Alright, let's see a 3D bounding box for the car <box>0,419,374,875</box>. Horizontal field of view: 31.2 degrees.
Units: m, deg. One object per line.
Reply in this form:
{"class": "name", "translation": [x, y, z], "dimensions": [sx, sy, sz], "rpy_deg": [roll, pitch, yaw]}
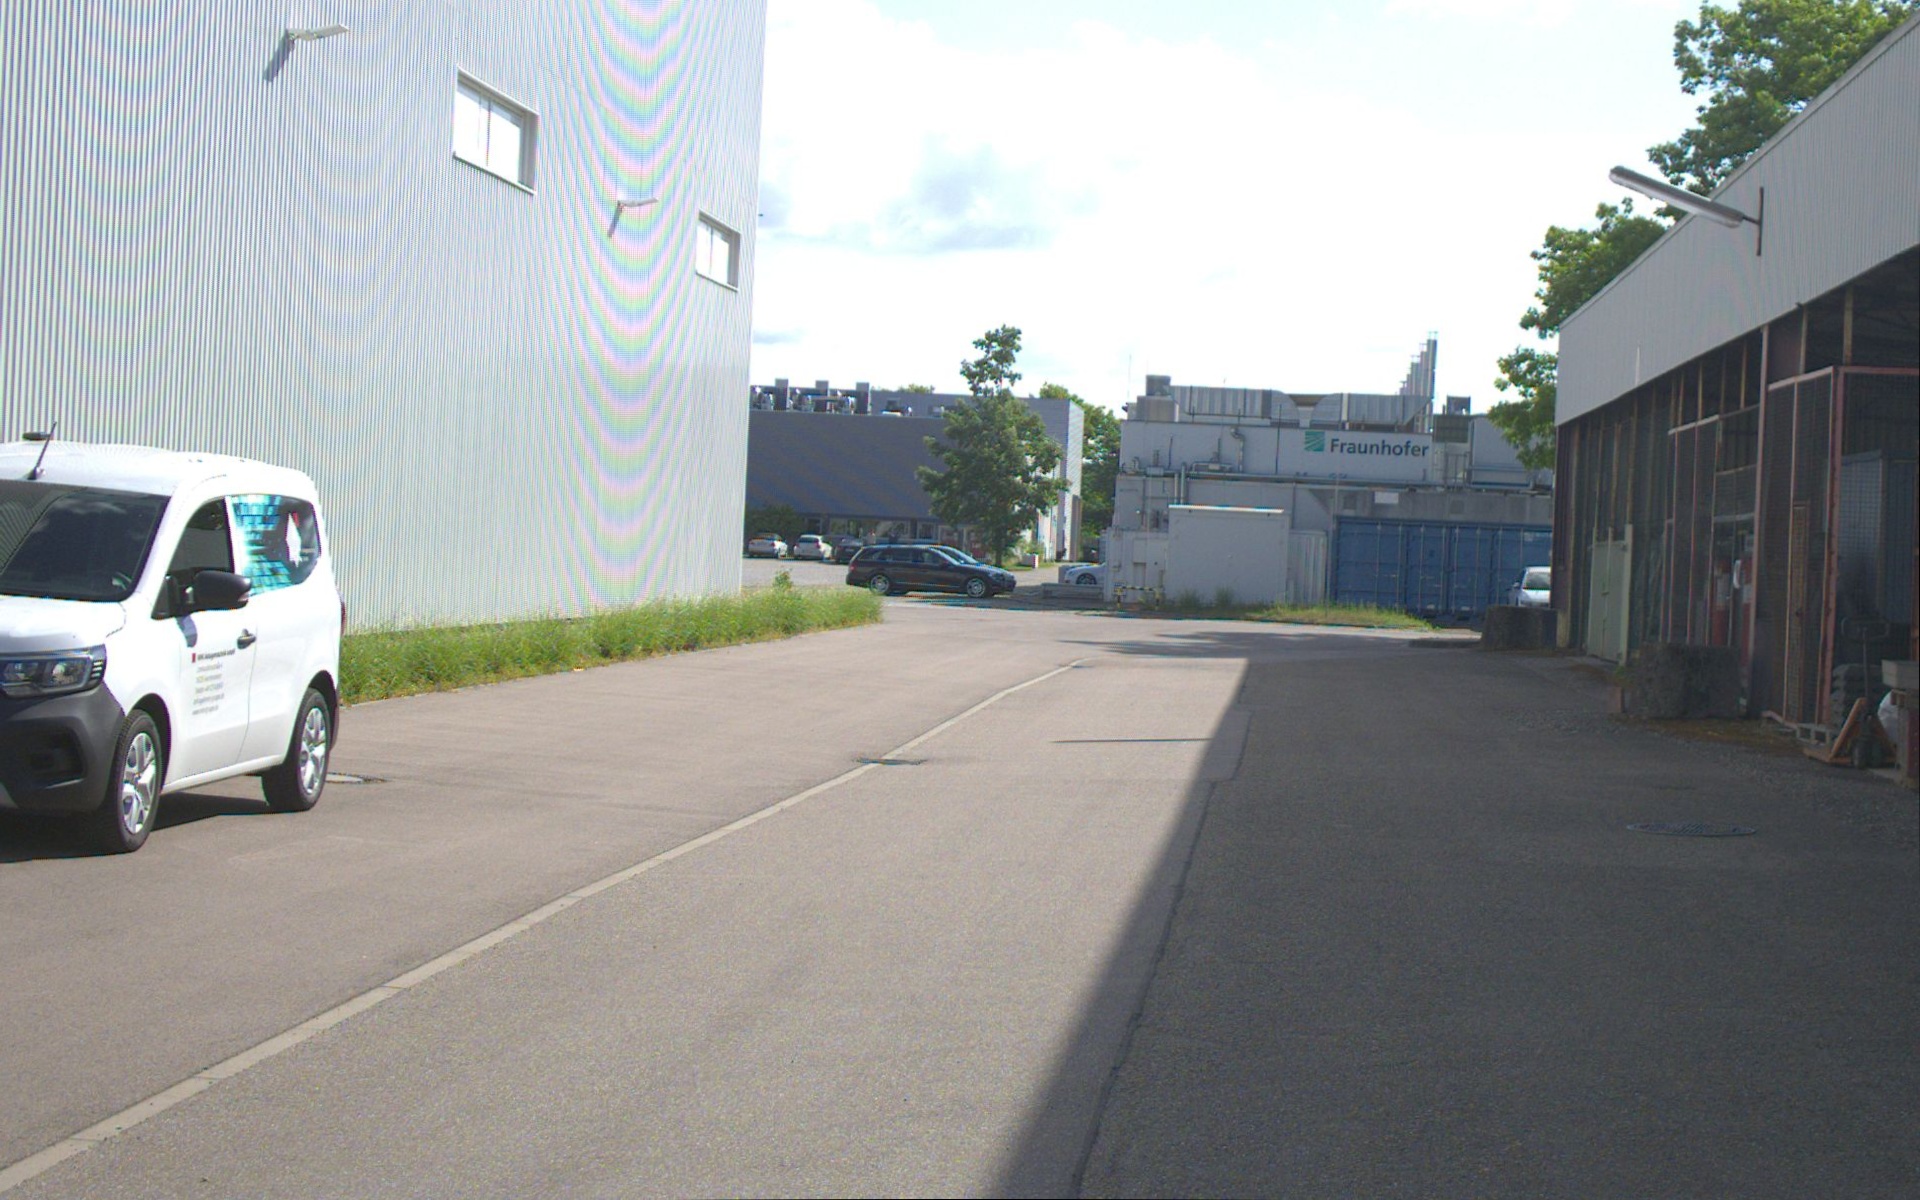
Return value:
{"class": "car", "translation": [-4.332, 0.104, 16.320], "dimensions": [1.891, 1.839, 4.358], "rpy_deg": [5, 1, 5]}

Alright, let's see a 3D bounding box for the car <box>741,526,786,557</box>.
{"class": "car", "translation": [-11.218, -3.342, 196.780], "dimensions": [1.994, 1.730, 3.999], "rpy_deg": [1, 0, 5]}

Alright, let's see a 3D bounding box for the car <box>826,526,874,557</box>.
{"class": "car", "translation": [-6.224, -3.306, 194.914], "dimensions": [2.194, 1.730, 3.999], "rpy_deg": [1, 0, 5]}

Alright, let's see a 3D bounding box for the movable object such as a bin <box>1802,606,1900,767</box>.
{"class": "movable object such as a bin", "translation": [6.778, 0.643, 26.194], "dimensions": [0.582, 1.160, 1.237], "rpy_deg": [2, 1, 9]}

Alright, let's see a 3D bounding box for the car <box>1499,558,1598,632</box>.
{"class": "car", "translation": [14.388, -0.140, 84.224], "dimensions": [1.994, 1.580, 4.172], "rpy_deg": [2, 2, 5]}

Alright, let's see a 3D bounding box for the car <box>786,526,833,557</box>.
{"class": "car", "translation": [-8.611, -3.331, 196.868], "dimensions": [2.194, 1.730, 3.999], "rpy_deg": [1, 0, 5]}

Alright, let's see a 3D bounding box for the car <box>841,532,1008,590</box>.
{"class": "car", "translation": [-0.990, -1.113, 98.547], "dimensions": [4.527, 1.503, 1.908], "rpy_deg": [2, 1, 7]}

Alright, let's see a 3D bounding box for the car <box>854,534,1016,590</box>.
{"class": "car", "translation": [-0.724, -1.137, 101.774], "dimensions": [4.527, 1.503, 1.908], "rpy_deg": [2, 1, 7]}

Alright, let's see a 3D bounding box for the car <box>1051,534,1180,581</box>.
{"class": "car", "translation": [5.696, -1.557, 125.612], "dimensions": [4.527, 1.503, 1.908], "rpy_deg": [2, 1, 7]}
